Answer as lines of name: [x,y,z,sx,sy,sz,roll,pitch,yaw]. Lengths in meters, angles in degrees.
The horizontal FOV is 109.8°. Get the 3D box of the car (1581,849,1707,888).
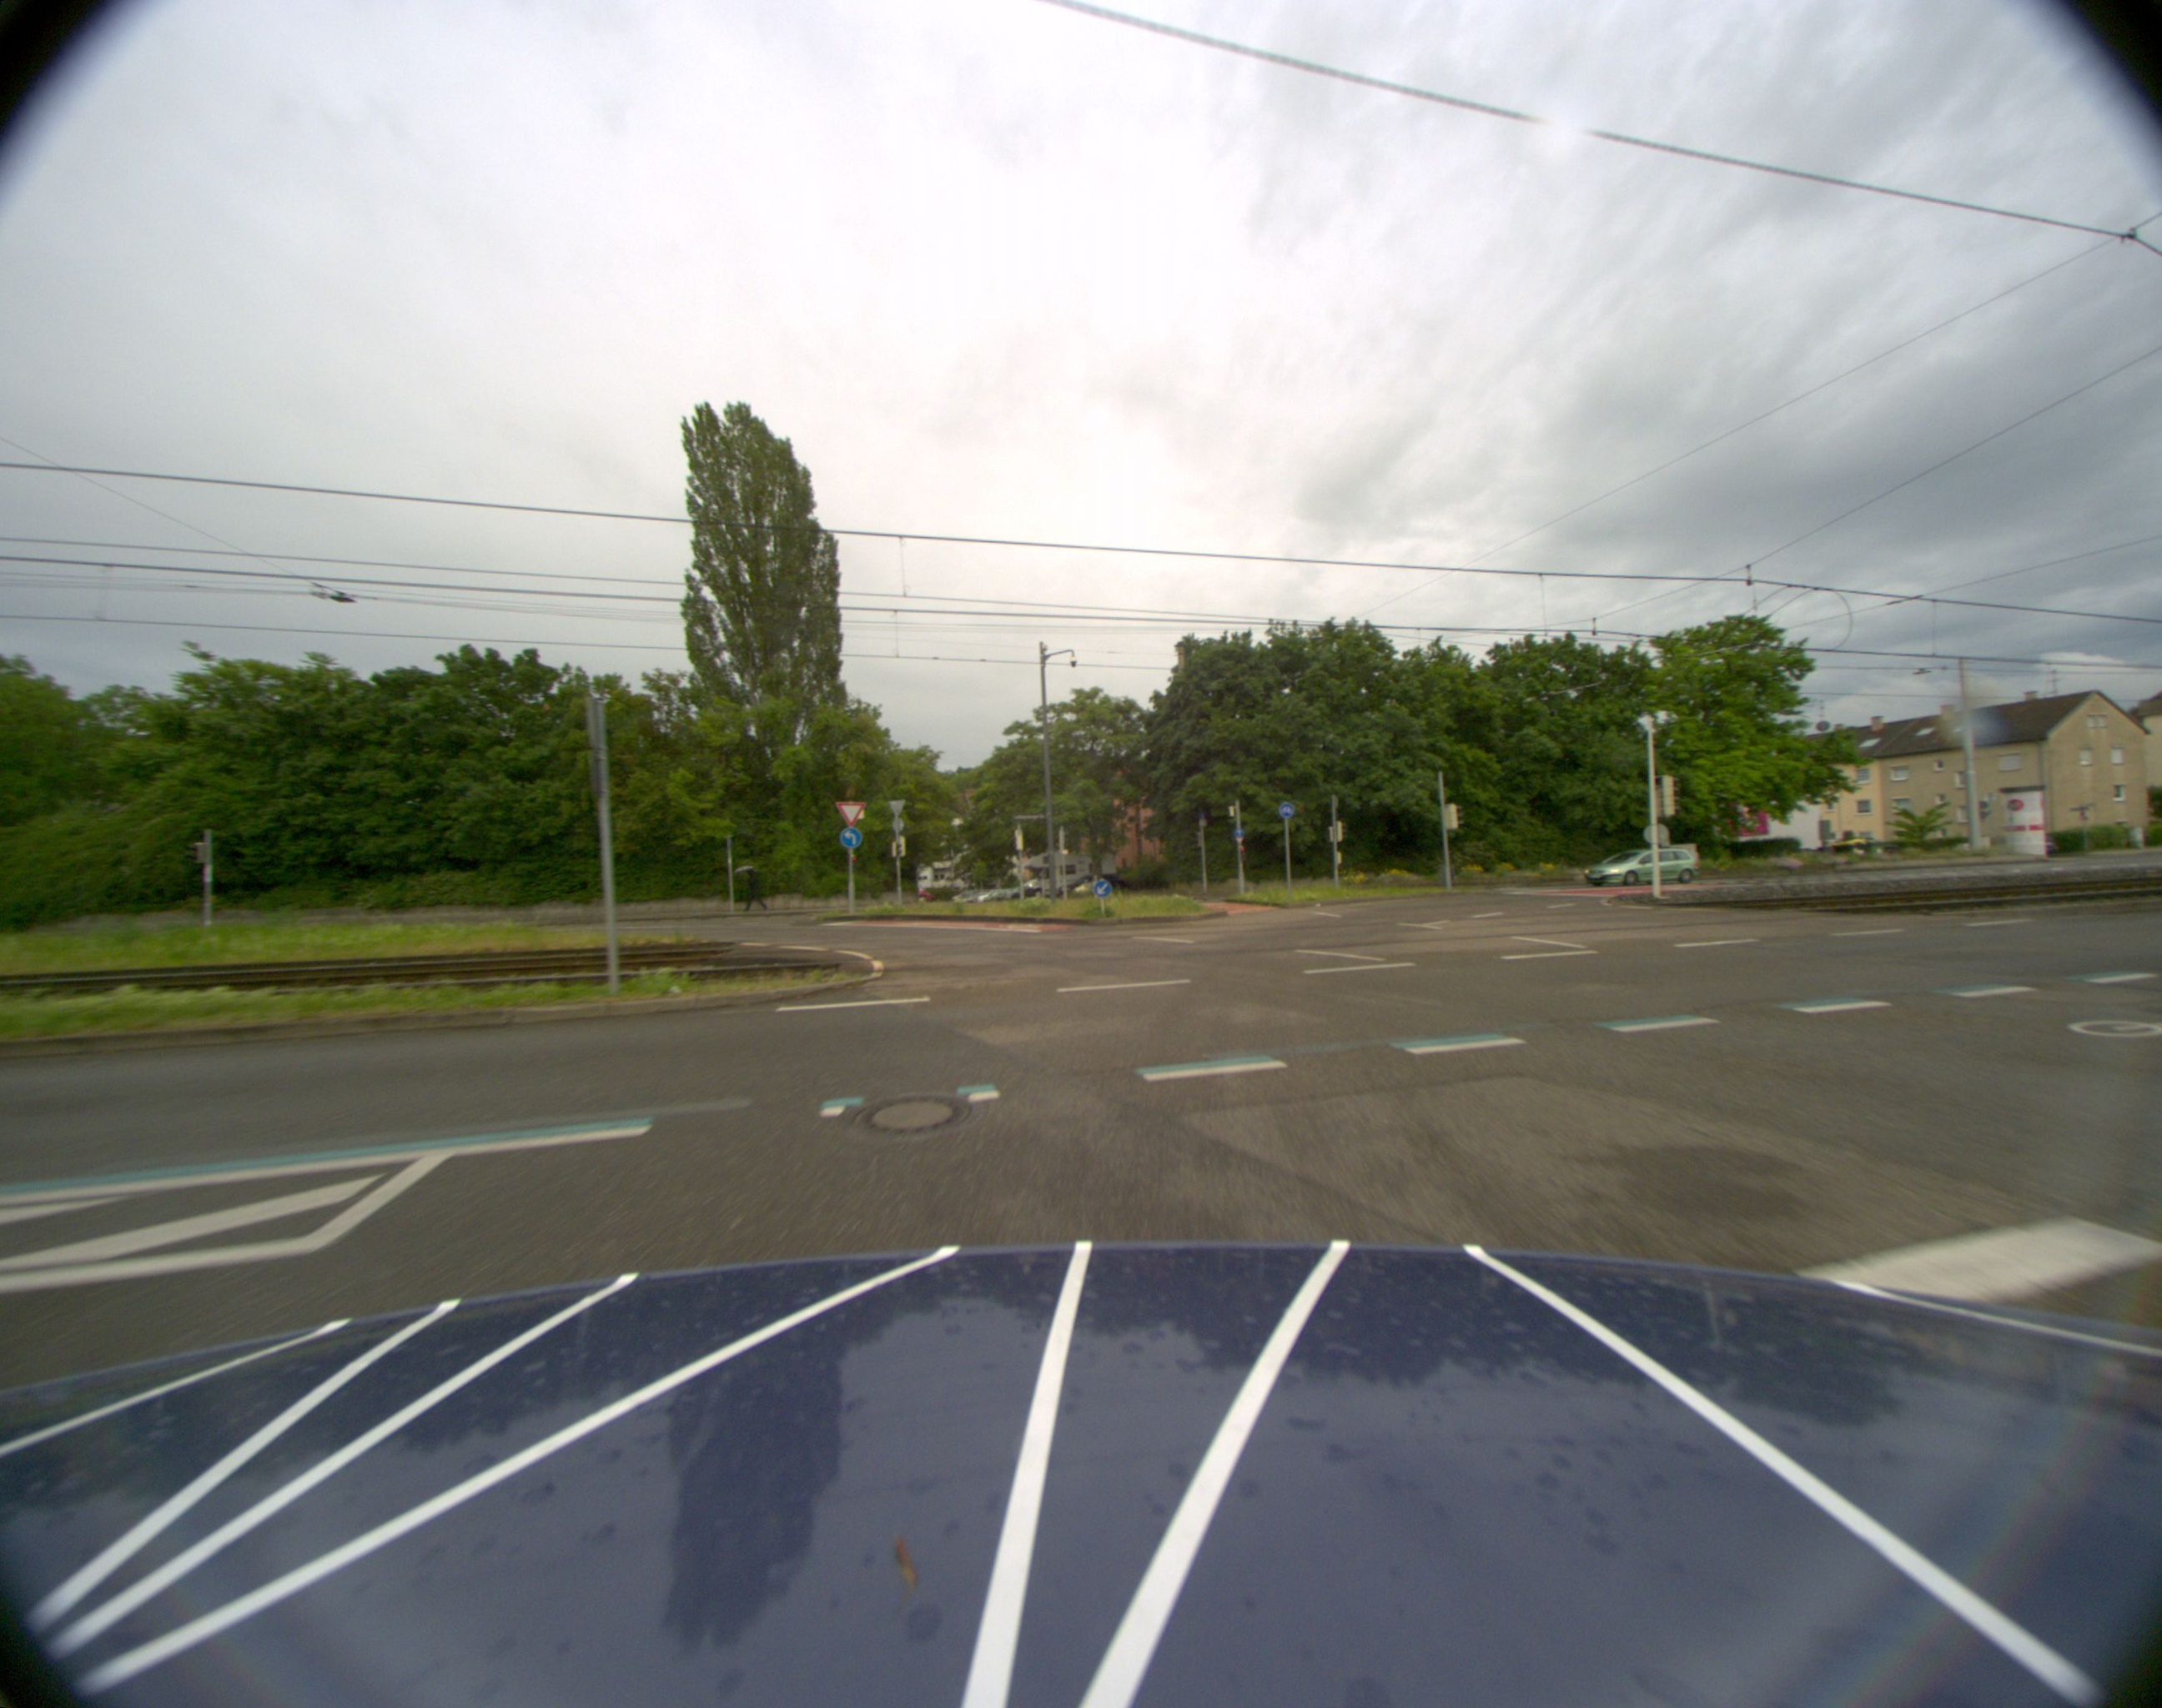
car: [23.467,0.606,31.729,4.202,1.440,1.888,-2,-1,-12]

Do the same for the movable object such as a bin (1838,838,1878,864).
movable object such as a bin: [46.062,-0.168,45.050,1.135,1.409,1.187,-4,-1,-14]

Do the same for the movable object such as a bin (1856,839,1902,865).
movable object such as a bin: [47.684,-0.100,45.418,1.301,1.409,1.314,-4,-1,-14]

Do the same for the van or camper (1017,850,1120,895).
van or camper: [-0.872,1.206,50.780,6.435,2.738,2.428,-1,-1,-16]

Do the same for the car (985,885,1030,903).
car: [-7.109,3.813,73.593,4.002,1.539,1.834,-1,-1,-15]

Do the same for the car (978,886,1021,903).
car: [-8.143,4.019,76.015,4.002,1.539,1.834,-1,-1,-15]

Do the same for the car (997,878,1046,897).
car: [-5.228,2.954,66.925,4.002,1.539,1.834,-1,-1,-15]

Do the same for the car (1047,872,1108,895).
car: [-0.277,2.105,54.543,4.002,1.539,1.834,-1,-1,-15]

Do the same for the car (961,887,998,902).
car: [-11.857,4.704,88.770,4.002,1.539,1.834,-1,-1,-15]

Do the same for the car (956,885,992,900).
car: [-12.961,4.606,92.090,4.002,1.636,1.834,-1,-1,-15]

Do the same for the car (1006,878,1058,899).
car: [-4.045,2.803,62.603,4.002,1.539,1.834,-1,-1,-15]

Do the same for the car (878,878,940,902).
car: [-12.063,2.500,53.262,4.003,1.539,1.676,-1,-1,-18]

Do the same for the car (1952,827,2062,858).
car: [63.170,-0.747,51.944,1.879,1.645,4.287,-4,-3,-8]

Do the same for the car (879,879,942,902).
car: [-11.513,2.426,51.241,4.003,1.346,1.676,-1,-1,-18]

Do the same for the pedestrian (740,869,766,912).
pedestrian: [-12.818,1.426,29.668,0.683,1.597,0.809,-4,-1,-12]

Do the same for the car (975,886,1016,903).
car: [-8.933,4.196,79.449,4.002,1.539,1.834,-1,-1,-15]

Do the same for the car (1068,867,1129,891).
car: [1.122,1.577,48.293,3.475,1.346,1.676,-1,-1,-18]
